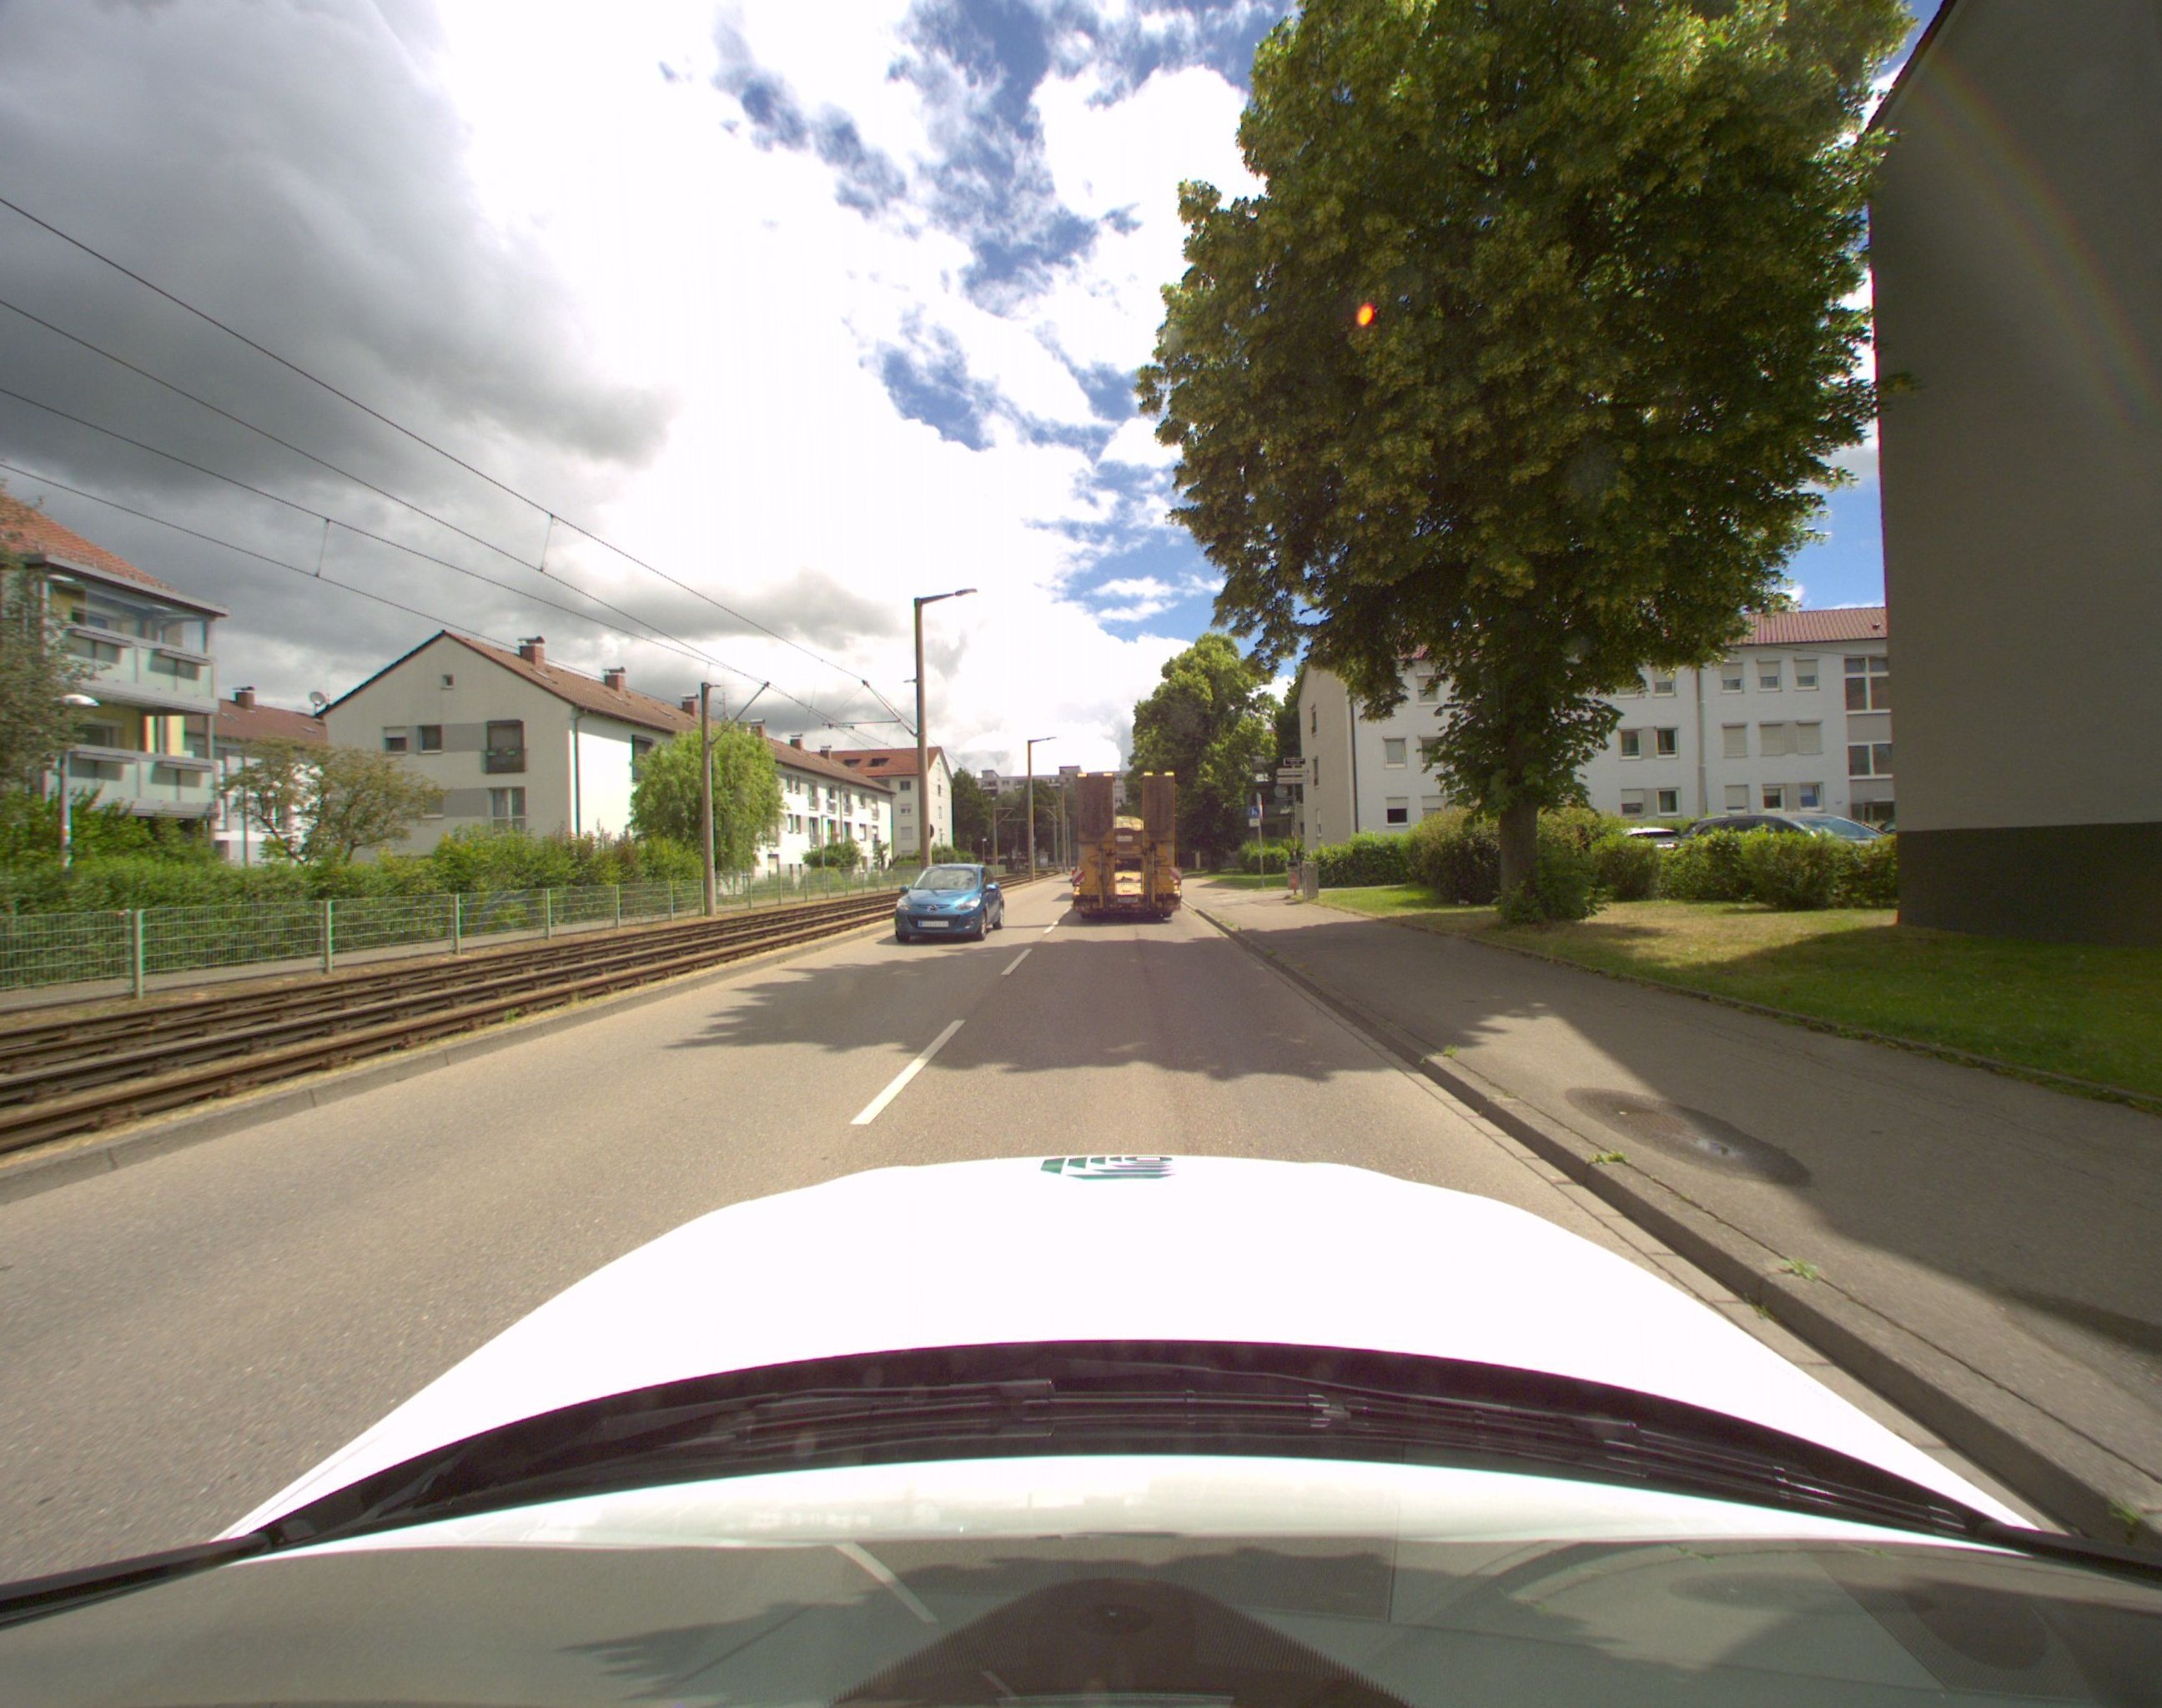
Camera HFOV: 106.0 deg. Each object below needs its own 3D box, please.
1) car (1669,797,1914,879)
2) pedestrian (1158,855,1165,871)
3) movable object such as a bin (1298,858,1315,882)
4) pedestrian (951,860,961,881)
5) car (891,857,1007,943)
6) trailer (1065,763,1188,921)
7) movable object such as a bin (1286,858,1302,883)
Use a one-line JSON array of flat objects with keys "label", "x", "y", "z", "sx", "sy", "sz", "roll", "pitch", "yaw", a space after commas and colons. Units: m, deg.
[{"label": "car", "x": 13.809, "y": -0.262, "z": 16.160, "sx": 1.669, "sy": 1.416, "sz": 3.744, "roll": 0, "pitch": -1, "yaw": 1}, {"label": "pedestrian", "x": 8.910, "y": 1.033, "z": 90.004, "sx": 0.715, "sy": 1.706, "sz": 0.767, "roll": -3, "pitch": -1, "yaw": 2}, {"label": "movable object such as a bin", "x": 9.232, "y": 0.638, "z": 33.307, "sx": 0.498, "sy": 0.947, "sz": 0.551, "roll": -3, "pitch": -1, "yaw": 2}, {"label": "pedestrian", "x": -11.232, "y": 1.488, "z": 73.233, "sx": 0.656, "sy": 1.849, "sz": 0.769, "roll": -3, "pitch": -1, "yaw": 2}, {"label": "car", "x": -2.562, "y": 0.858, "z": 16.553, "sx": 1.617, "sy": 1.525, "sz": 3.583, "roll": -1, "pitch": -1, "yaw": 2}, {"label": "trailer", "x": 1.097, "y": -0.218, "z": 24.988, "sx": 2.818, "sy": 3.646, "sz": 12.353, "roll": 0, "pitch": -1, "yaw": 0}, {"label": "movable object such as a bin", "x": 8.696, "y": 0.668, "z": 33.264, "sx": 0.494, "sy": 0.955, "sz": 0.580, "roll": -3, "pitch": -1, "yaw": 2}]
